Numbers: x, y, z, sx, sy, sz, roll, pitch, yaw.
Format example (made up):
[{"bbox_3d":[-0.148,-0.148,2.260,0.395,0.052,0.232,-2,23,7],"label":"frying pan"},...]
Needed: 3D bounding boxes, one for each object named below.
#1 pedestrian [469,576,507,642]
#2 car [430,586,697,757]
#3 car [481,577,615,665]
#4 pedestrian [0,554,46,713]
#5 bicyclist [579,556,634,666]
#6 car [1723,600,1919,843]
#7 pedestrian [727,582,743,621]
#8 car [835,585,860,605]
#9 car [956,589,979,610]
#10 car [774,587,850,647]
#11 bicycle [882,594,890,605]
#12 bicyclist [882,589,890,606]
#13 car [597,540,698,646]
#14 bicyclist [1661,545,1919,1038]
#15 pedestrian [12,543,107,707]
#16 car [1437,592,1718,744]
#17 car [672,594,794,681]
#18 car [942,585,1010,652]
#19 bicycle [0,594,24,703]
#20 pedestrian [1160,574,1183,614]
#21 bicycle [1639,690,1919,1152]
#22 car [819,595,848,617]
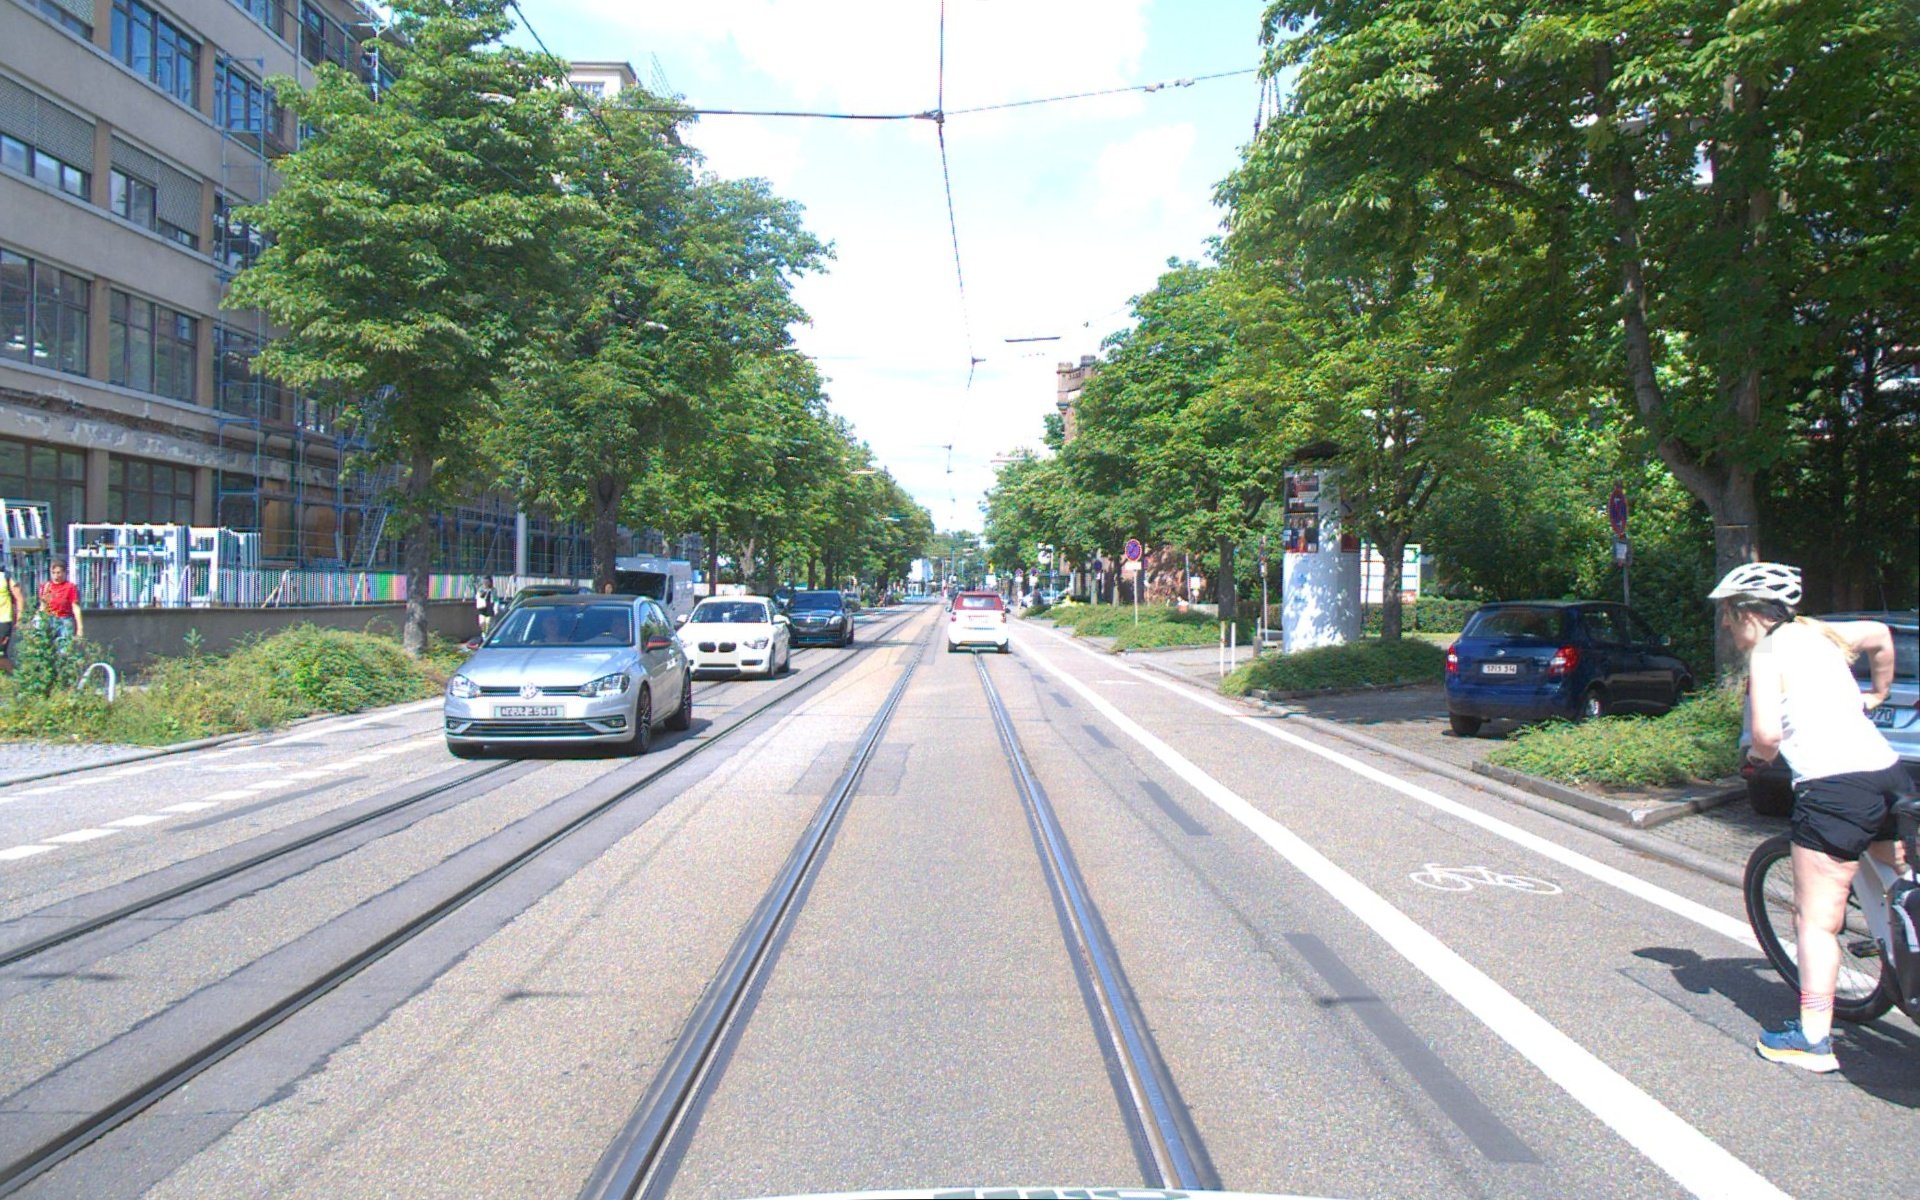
[{"bbox_3d":[-11.974,0.223,41.987,0.749,1.648,0.594,2,0,-1],"label":"pedestrian"},{"bbox_3d":[-3.717,0.611,16.163,1.737,1.441,3.851,-1,0,-1],"label":"car"},{"bbox_3d":[-8.661,0.412,35.099,1.768,1.691,4.102,2,0,0],"label":"car"},{"bbox_3d":[-11.366,0.374,19.523,0.694,1.824,0.661,4,-1,-6],"label":"pedestrian"},{"bbox_3d":[-6.727,0.206,31.501,0.859,2.049,0.833,-1,-1,-2],"label":"bicyclist"},{"bbox_3d":[7.251,0.811,12.153,3.773,1.500,1.628,1,1,-42],"label":"car"},{"bbox_3d":[-12.163,0.084,89.439,0.788,2.049,0.484,1,0,-10],"label":"pedestrian"},{"bbox_3d":[-9.097,-0.399,134.435,1.768,1.543,4.102,1,0,0],"label":"car"},{"bbox_3d":[0.556,-0.080,125.298,1.631,1.518,3.620,1,1,-1],"label":"car"},{"bbox_3d":[-4.030,0.449,45.729,1.764,1.534,4.535,1,0,-1],"label":"car"},{"bbox_3d":[-7.070,-0.056,158.249,0.605,0.990,1.717,1,0,1],"label":"bicycle"},{"bbox_3d":[-7.060,-0.274,158.205,0.645,1.607,0.945,2,0,-2],"label":"bicyclist"},{"bbox_3d":[-8.565,-0.186,45.774,1.733,2.685,5.321,2,0,-1],"label":"car"},{"bbox_3d":[3.118,0.619,5.818,0.871,1.555,1.086,2,0,5],"label":"bicyclist"},{"bbox_3d":[-10.672,0.283,19.610,0.694,1.863,0.661,4,1,-6],"label":"pedestrian"},{"bbox_3d":[7.118,0.685,18.866,1.588,1.512,3.974,0,0,43],"label":"car"},{"bbox_3d":[-3.970,0.618,29.442,1.652,1.430,4.225,0,0,-1],"label":"car"},{"bbox_3d":[0.371,0.454,43.445,1.632,1.653,3.619,0,1,-2],"label":"car"},{"bbox_3d":[-11.825,0.585,19.580,0.437,1.309,1.739,1,0,2],"label":"bicycle"},{"bbox_3d":[11.091,-0.305,86.871,0.957,2.049,1.093,2,0,-2],"label":"pedestrian"},{"bbox_3d":[3.095,0.958,5.596,0.856,1.145,2.137,2,0,5],"label":"bicycle"},{"bbox_3d":[-9.241,0.425,121.259,1.768,1.543,4.102,2,0,0],"label":"car"}]
